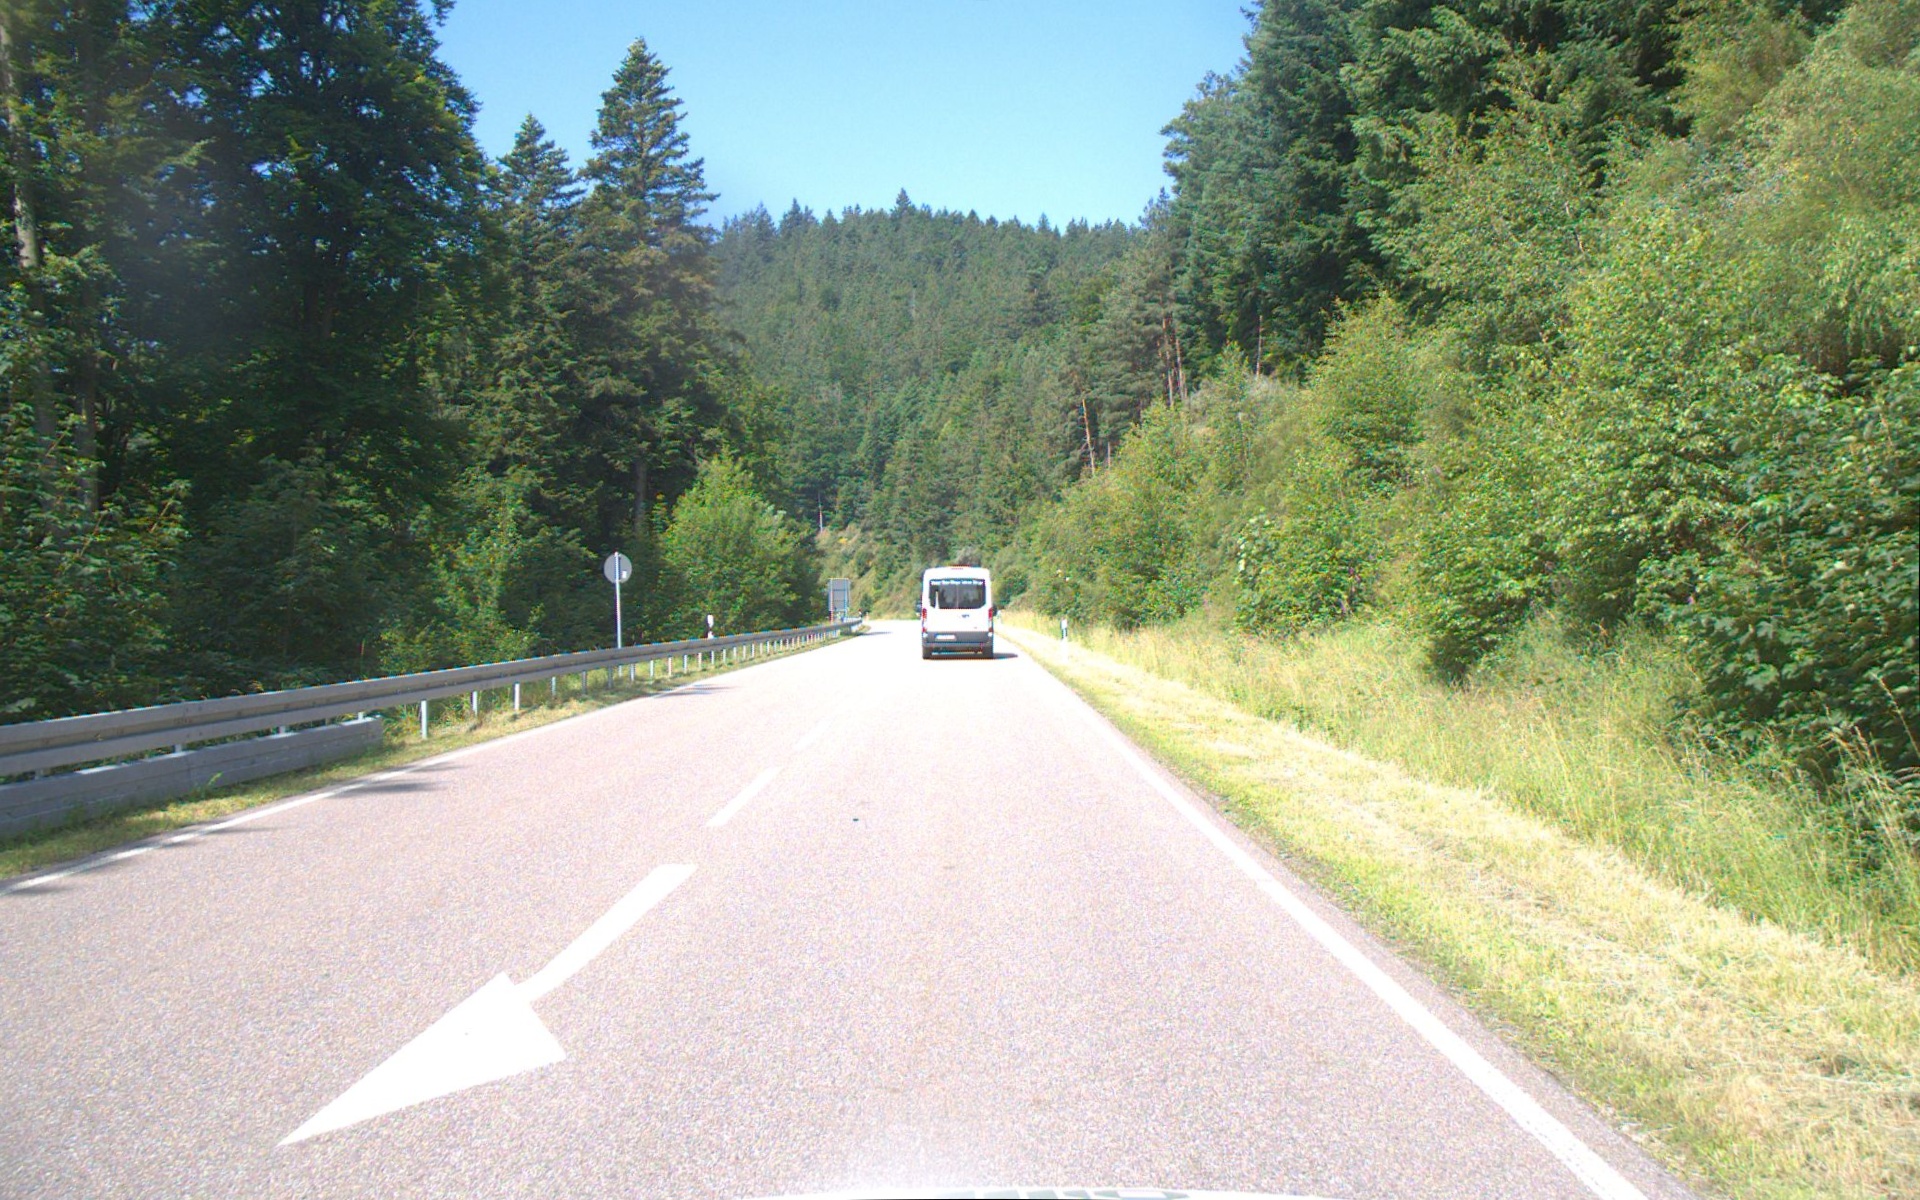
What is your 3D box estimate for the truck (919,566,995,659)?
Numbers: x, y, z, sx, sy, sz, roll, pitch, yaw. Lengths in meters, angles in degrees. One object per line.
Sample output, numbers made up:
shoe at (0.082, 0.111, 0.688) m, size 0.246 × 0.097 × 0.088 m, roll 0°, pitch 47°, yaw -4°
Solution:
truck at (-0.130, 0.365, 46.752) m, size 2.041 × 2.503 × 4.873 m, roll 0°, pitch -1°, yaw -1°
